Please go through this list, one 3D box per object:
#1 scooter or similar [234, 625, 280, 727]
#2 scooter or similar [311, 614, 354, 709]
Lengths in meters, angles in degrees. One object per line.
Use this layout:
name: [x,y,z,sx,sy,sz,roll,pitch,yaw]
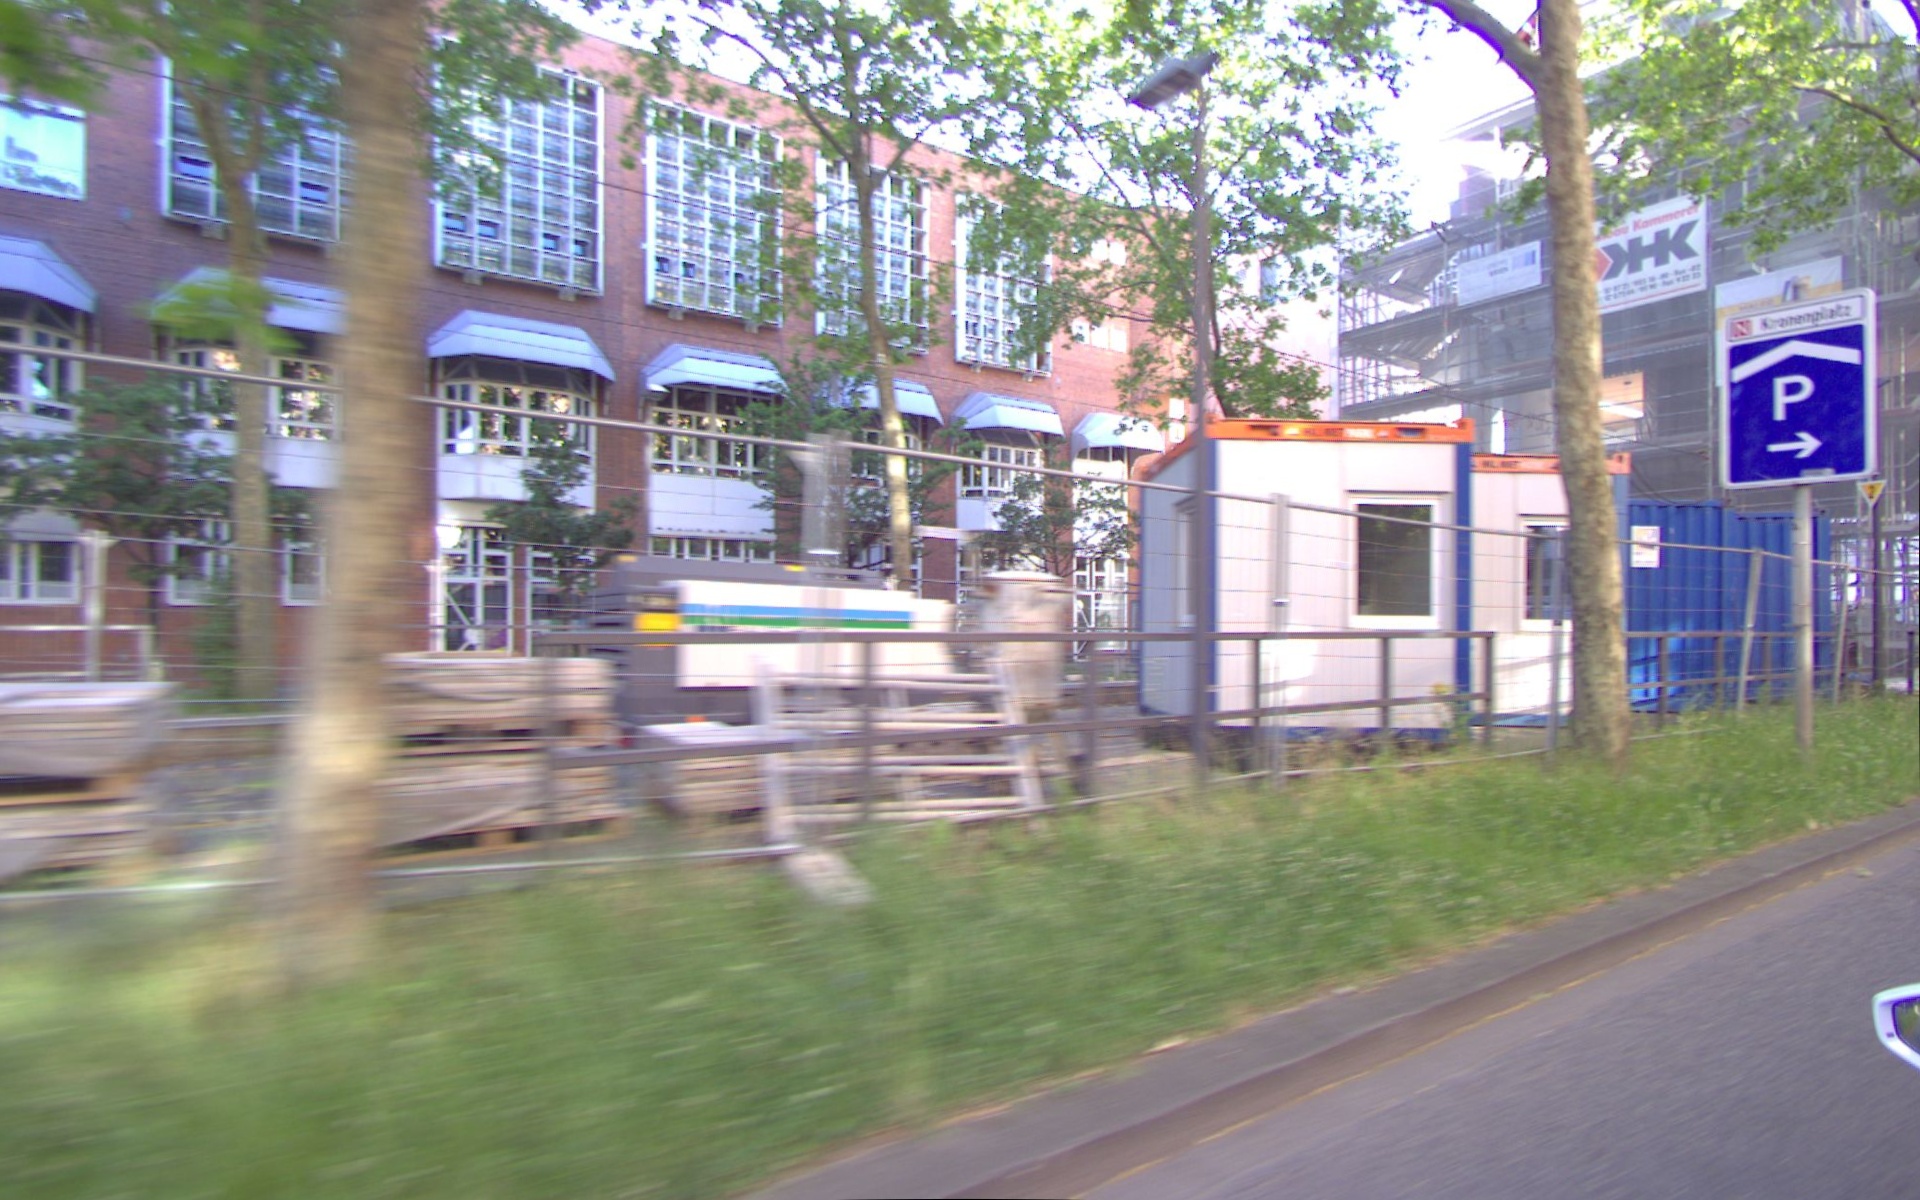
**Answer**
scooter or similar: [-12.429,1.327,17.757,0.570,1.749,0.525,1,0,-43]
scooter or similar: [-11.900,1.145,19.047,0.570,1.749,0.525,1,0,-43]
